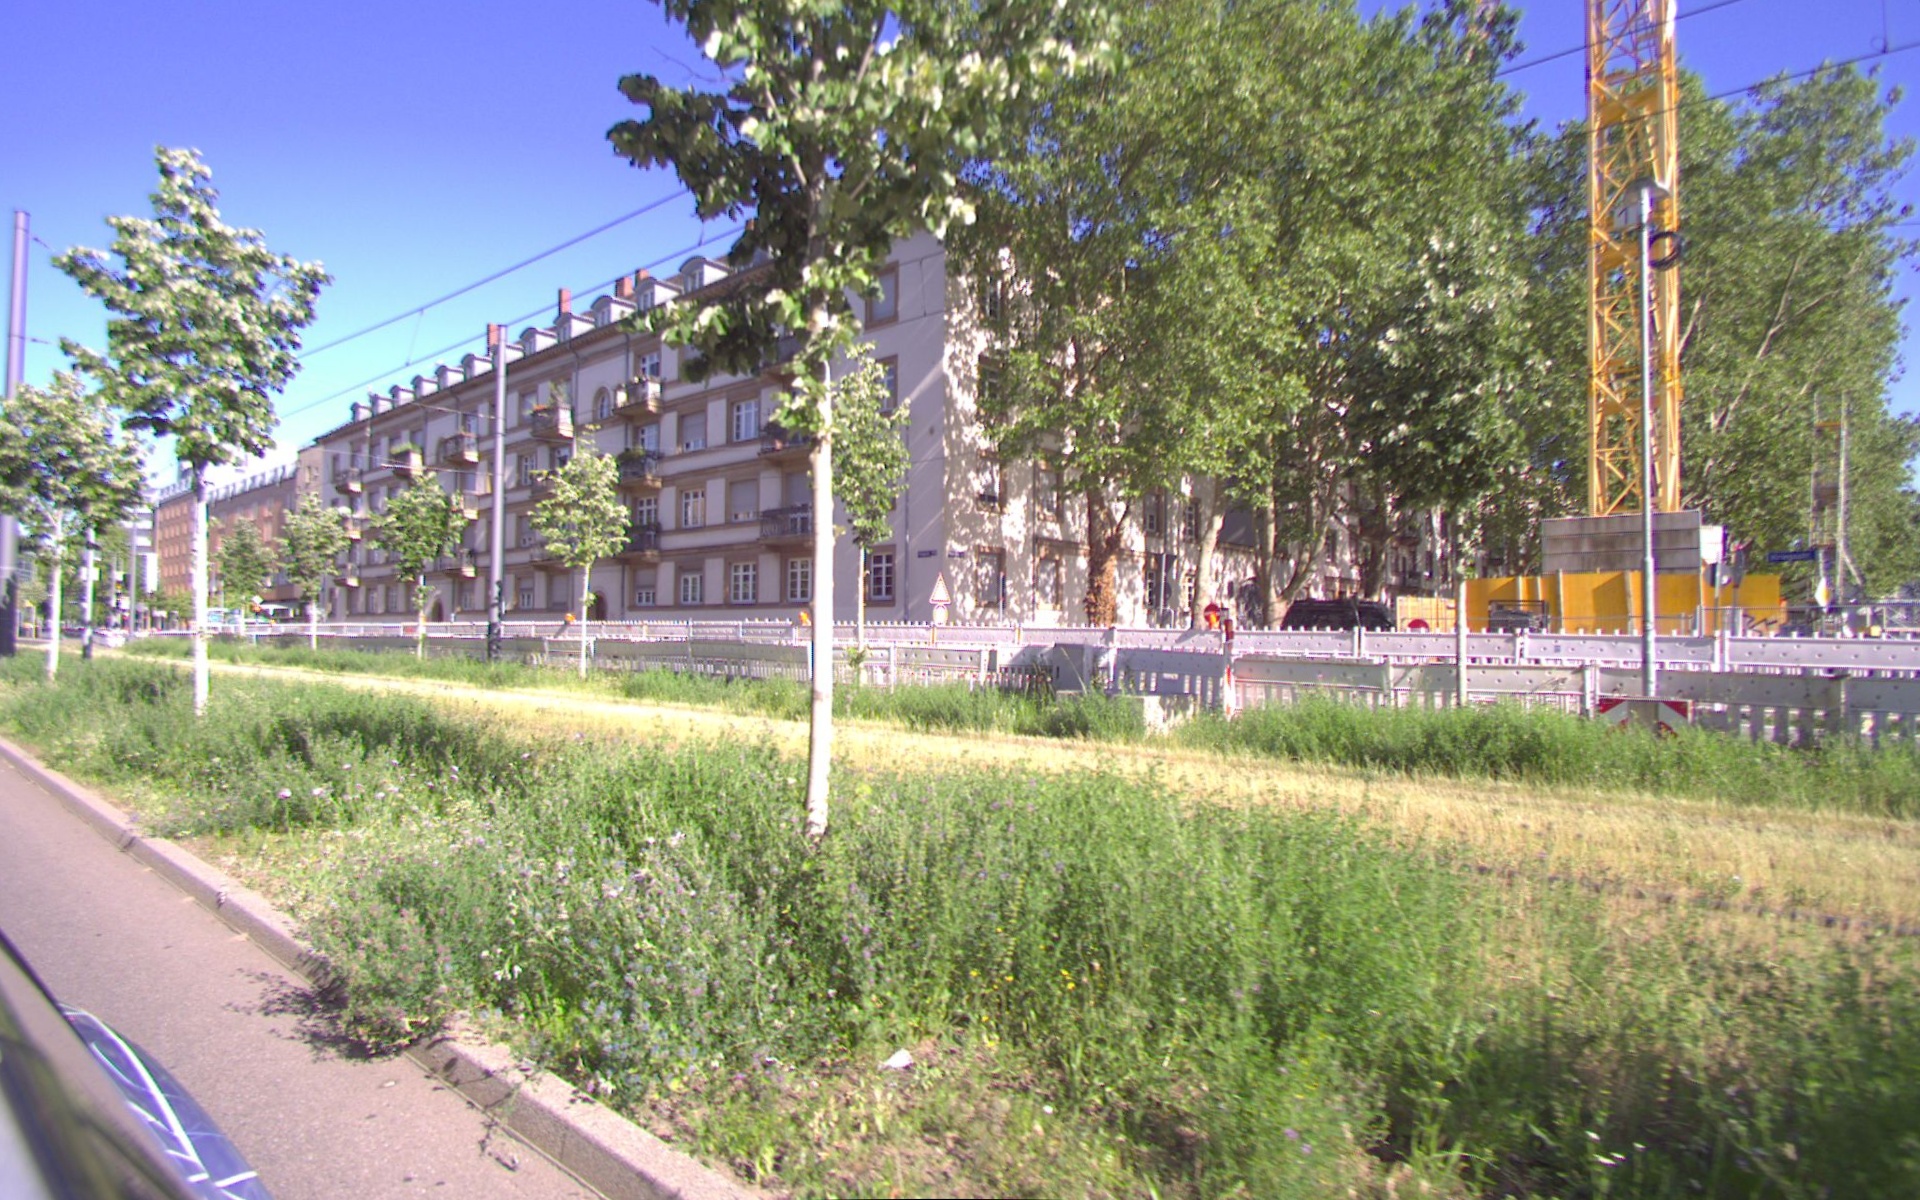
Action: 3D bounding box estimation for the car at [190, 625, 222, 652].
[{"bbox_3d":[-69.108,3.494,92.752,1.969,2.314,5.197,1,-1,-41],"label":"car"}]
